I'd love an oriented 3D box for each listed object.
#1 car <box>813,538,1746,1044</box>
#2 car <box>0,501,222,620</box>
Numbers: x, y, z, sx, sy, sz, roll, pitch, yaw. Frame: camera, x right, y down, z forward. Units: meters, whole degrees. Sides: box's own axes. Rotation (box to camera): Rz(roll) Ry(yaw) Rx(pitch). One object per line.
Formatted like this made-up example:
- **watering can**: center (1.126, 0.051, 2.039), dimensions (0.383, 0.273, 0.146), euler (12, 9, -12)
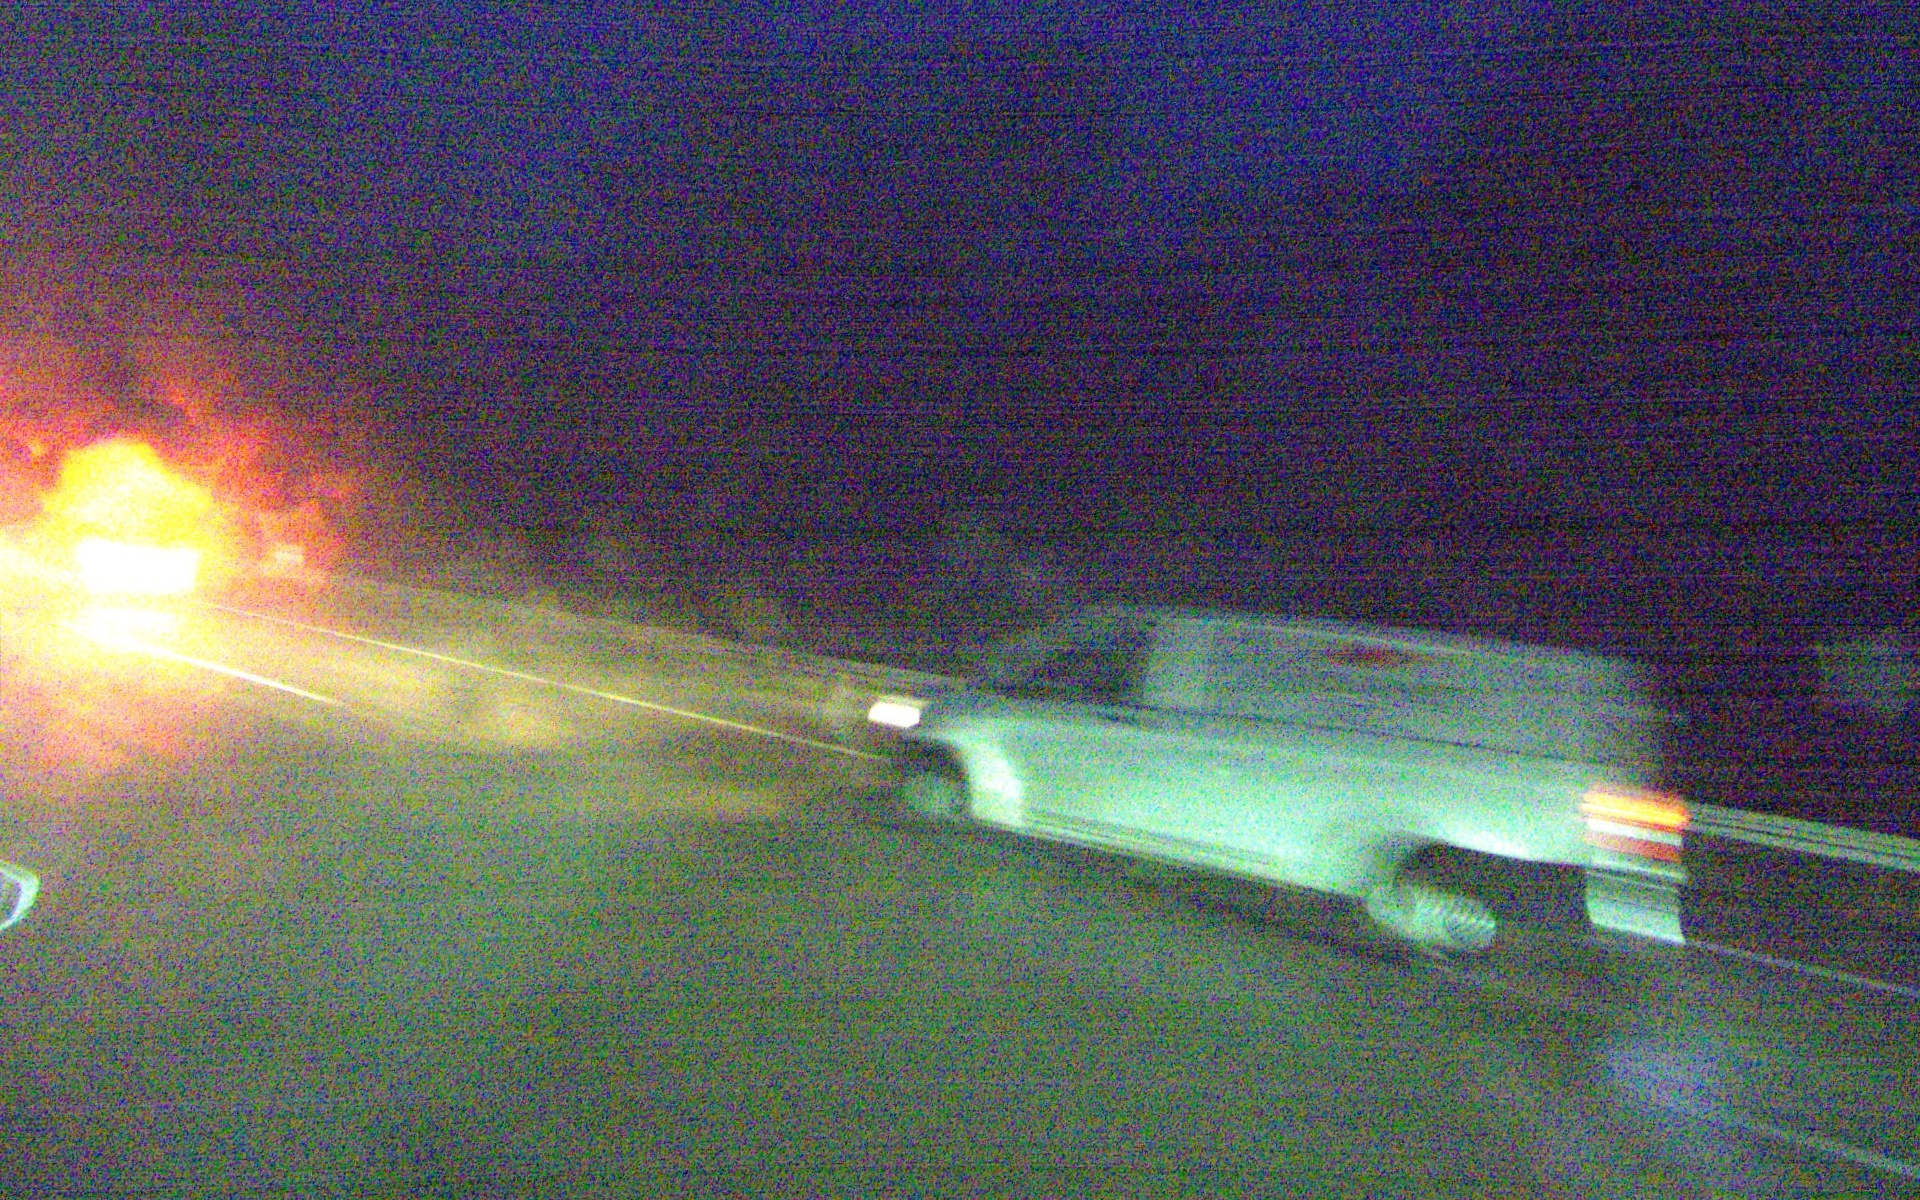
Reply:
- **car**: center (1.810, 0.908, 6.975), dimensions (5.316, 1.997, 2.050), euler (7, -1, 31)
- **car**: center (-15.346, -0.755, 17.722), dimensions (4.878, 1.503, 1.898), euler (7, -2, 31)
